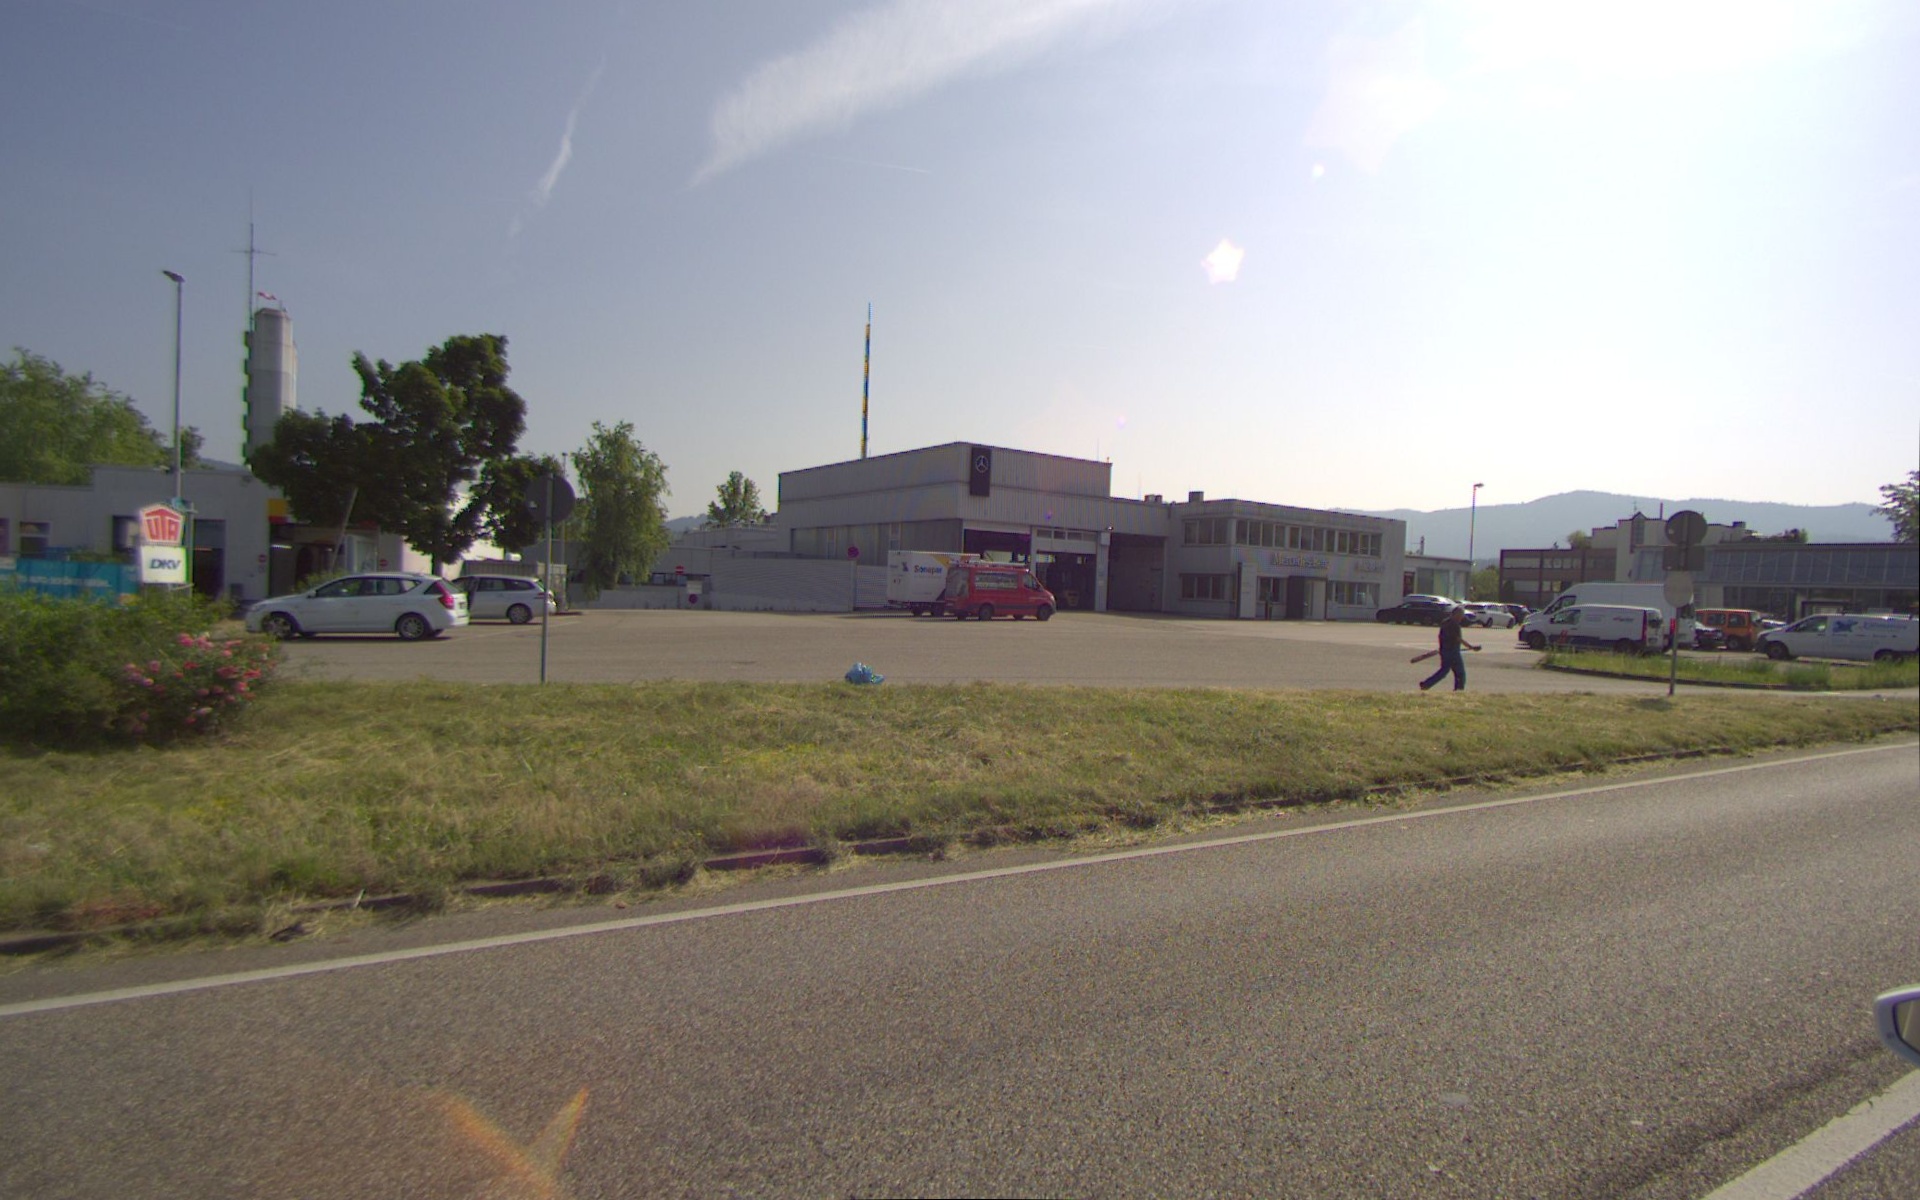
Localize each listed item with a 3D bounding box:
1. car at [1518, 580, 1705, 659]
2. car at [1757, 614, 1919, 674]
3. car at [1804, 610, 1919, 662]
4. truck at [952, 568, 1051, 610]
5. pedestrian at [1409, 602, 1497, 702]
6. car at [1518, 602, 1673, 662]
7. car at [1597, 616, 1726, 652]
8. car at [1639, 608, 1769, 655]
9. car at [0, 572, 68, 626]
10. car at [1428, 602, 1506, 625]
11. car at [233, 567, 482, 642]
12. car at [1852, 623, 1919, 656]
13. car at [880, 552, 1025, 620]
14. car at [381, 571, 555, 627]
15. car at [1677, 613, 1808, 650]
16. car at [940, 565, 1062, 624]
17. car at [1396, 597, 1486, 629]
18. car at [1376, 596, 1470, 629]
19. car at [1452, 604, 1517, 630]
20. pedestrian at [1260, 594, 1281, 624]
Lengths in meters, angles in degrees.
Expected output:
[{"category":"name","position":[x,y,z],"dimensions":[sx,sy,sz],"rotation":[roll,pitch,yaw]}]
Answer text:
[{"category":"car","position":[25.659,0.703,39.813],"dimensions":[2.261,2.781,5.685],"rotation":[2,2,-33]},{"category":"car","position":[33.111,1.578,37.634],"dimensions":[2.122,1.883,4.639],"rotation":[1,2,-35]},{"category":"car","position":[41.154,1.601,44.921],"dimensions":[2.207,2.008,4.759],"rotation":[1,2,-35]},{"category":"truck","position":[2.429,-0.633,61.525],"dimensions":[2.427,2.388,6.832],"rotation":[2,-1,-35]},{"category":"pedestrian","position":[8.807,0.917,17.989],"dimensions":[1.121,1.712,0.850],"rotation":[1,0,-1]},{"category":"car","position":[23.487,1.147,37.275],"dimensions":[1.968,1.864,4.414],"rotation":[1,2,-35]},{"category":"car","position":[31.295,1.498,44.917],"dimensions":[1.782,1.336,4.351],"rotation":[1,1,-35]},{"category":"car","position":[34.134,1.394,46.215],"dimensions":[1.981,1.832,4.351],"rotation":[1,2,-35]},{"category":"car","position":[-29.380,-0.053,31.330],"dimensions":[4.252,1.587,1.713],"rotation":[1,0,40]},{"category":"car","position":[37.571,0.962,74.589],"dimensions":[2.186,1.587,4.791],"rotation":[0,1,-31]},{"category":"car","position":[-13.654,0.120,23.072],"dimensions":[4.581,1.587,1.715],"rotation":[1,0,-16]},{"category":"car","position":[45.608,1.920,47.900],"dimensions":[4.145,1.422,1.899],"rotation":[2,0,15]},{"category":"car","position":[-0.282,-0.584,46.097],"dimensions":[6.462,2.894,2.379],"rotation":[1,0,-35]},{"category":"car","position":[-14.789,-0.004,30.471],"dimensions":[4.590,1.587,1.712],"rotation":[1,0,-22]},{"category":"car","position":[36.527,1.440,47.001],"dimensions":[1.947,1.417,4.435],"rotation":[1,1,-35]},{"category":"car","position":[1.820,-0.198,43.599],"dimensions":[5.170,2.418,1.868],"rotation":[1,0,-35]},{"category":"car","position":[29.883,0.765,62.548],"dimensions":[1.932,1.879,4.786],"rotation":[0,1,-33]},{"category":"car","position":[28.210,0.753,61.367],"dimensions":[2.188,1.879,4.786],"rotation":[0,1,-33]},{"category":"car","position":[33.378,1.102,63.888],"dimensions":[4.523,1.512,1.793],"rotation":[2,0,-36]},{"category":"pedestrian","position":[17.819,0.504,57.646],"dimensions":[0.843,1.712,0.814],"rotation":[2,-1,-37]}]
